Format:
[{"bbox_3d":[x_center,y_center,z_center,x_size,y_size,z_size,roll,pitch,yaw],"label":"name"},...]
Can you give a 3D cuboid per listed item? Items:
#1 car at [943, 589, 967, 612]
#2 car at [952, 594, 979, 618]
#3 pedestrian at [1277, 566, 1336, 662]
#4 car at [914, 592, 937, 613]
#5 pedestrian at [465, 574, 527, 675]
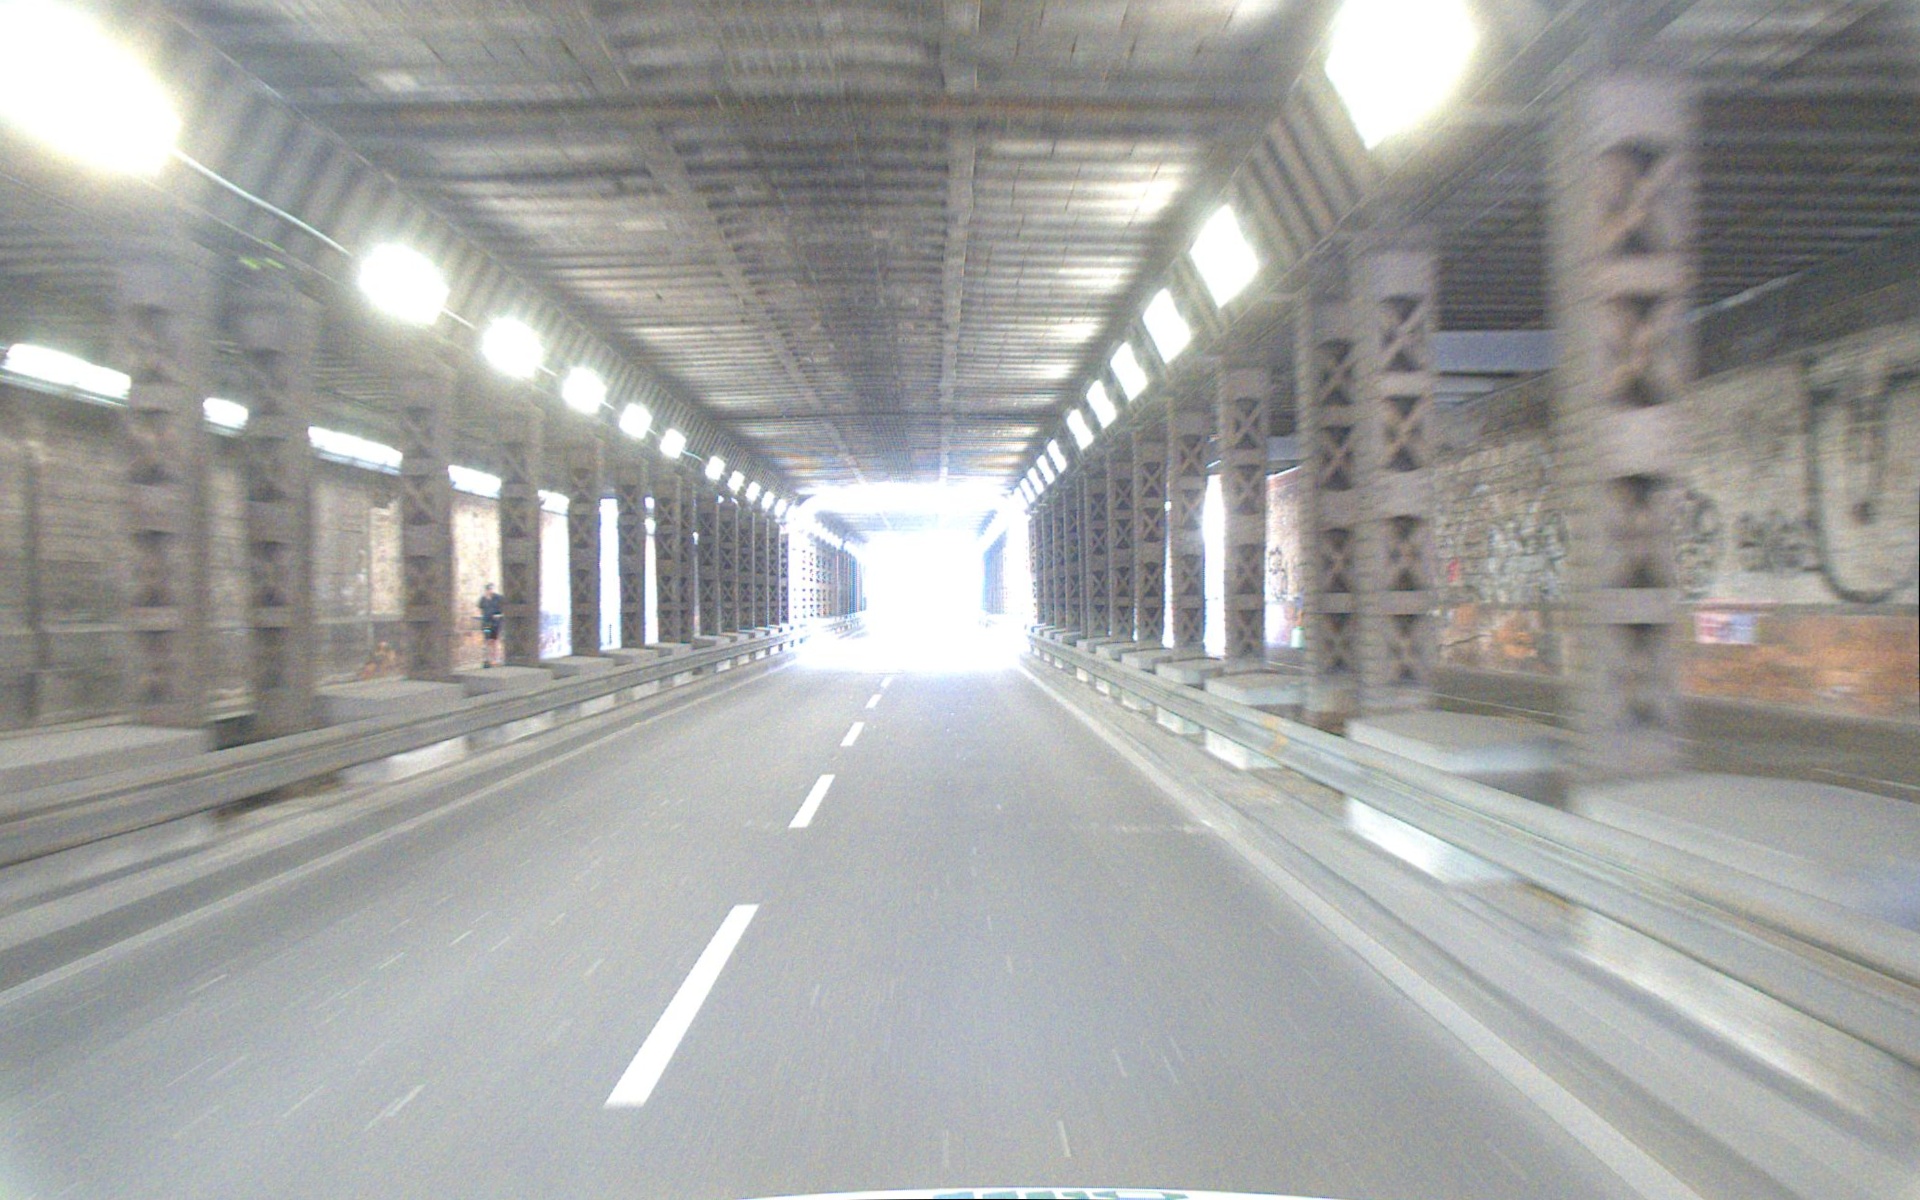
[{"bbox_3d":[-0.434,0.019,137.410,1.953,1.815,3.999,-1,0,-1],"label":"car"},{"bbox_3d":[0.402,0.442,127.716,1.953,1.815,3.999,-1,0,-1],"label":"car"},{"bbox_3d":[6.497,0.257,31.024,0.783,1.731,1.111,-2,0,-2],"label":"pedestrian"},{"bbox_3d":[-2.953,0.210,143.541,1.953,1.815,3.999,-1,0,-1],"label":"car"},{"bbox_3d":[-9.849,0.530,35.144,0.939,2.091,1.355,-1,-1,0],"label":"pedestrian"}]
